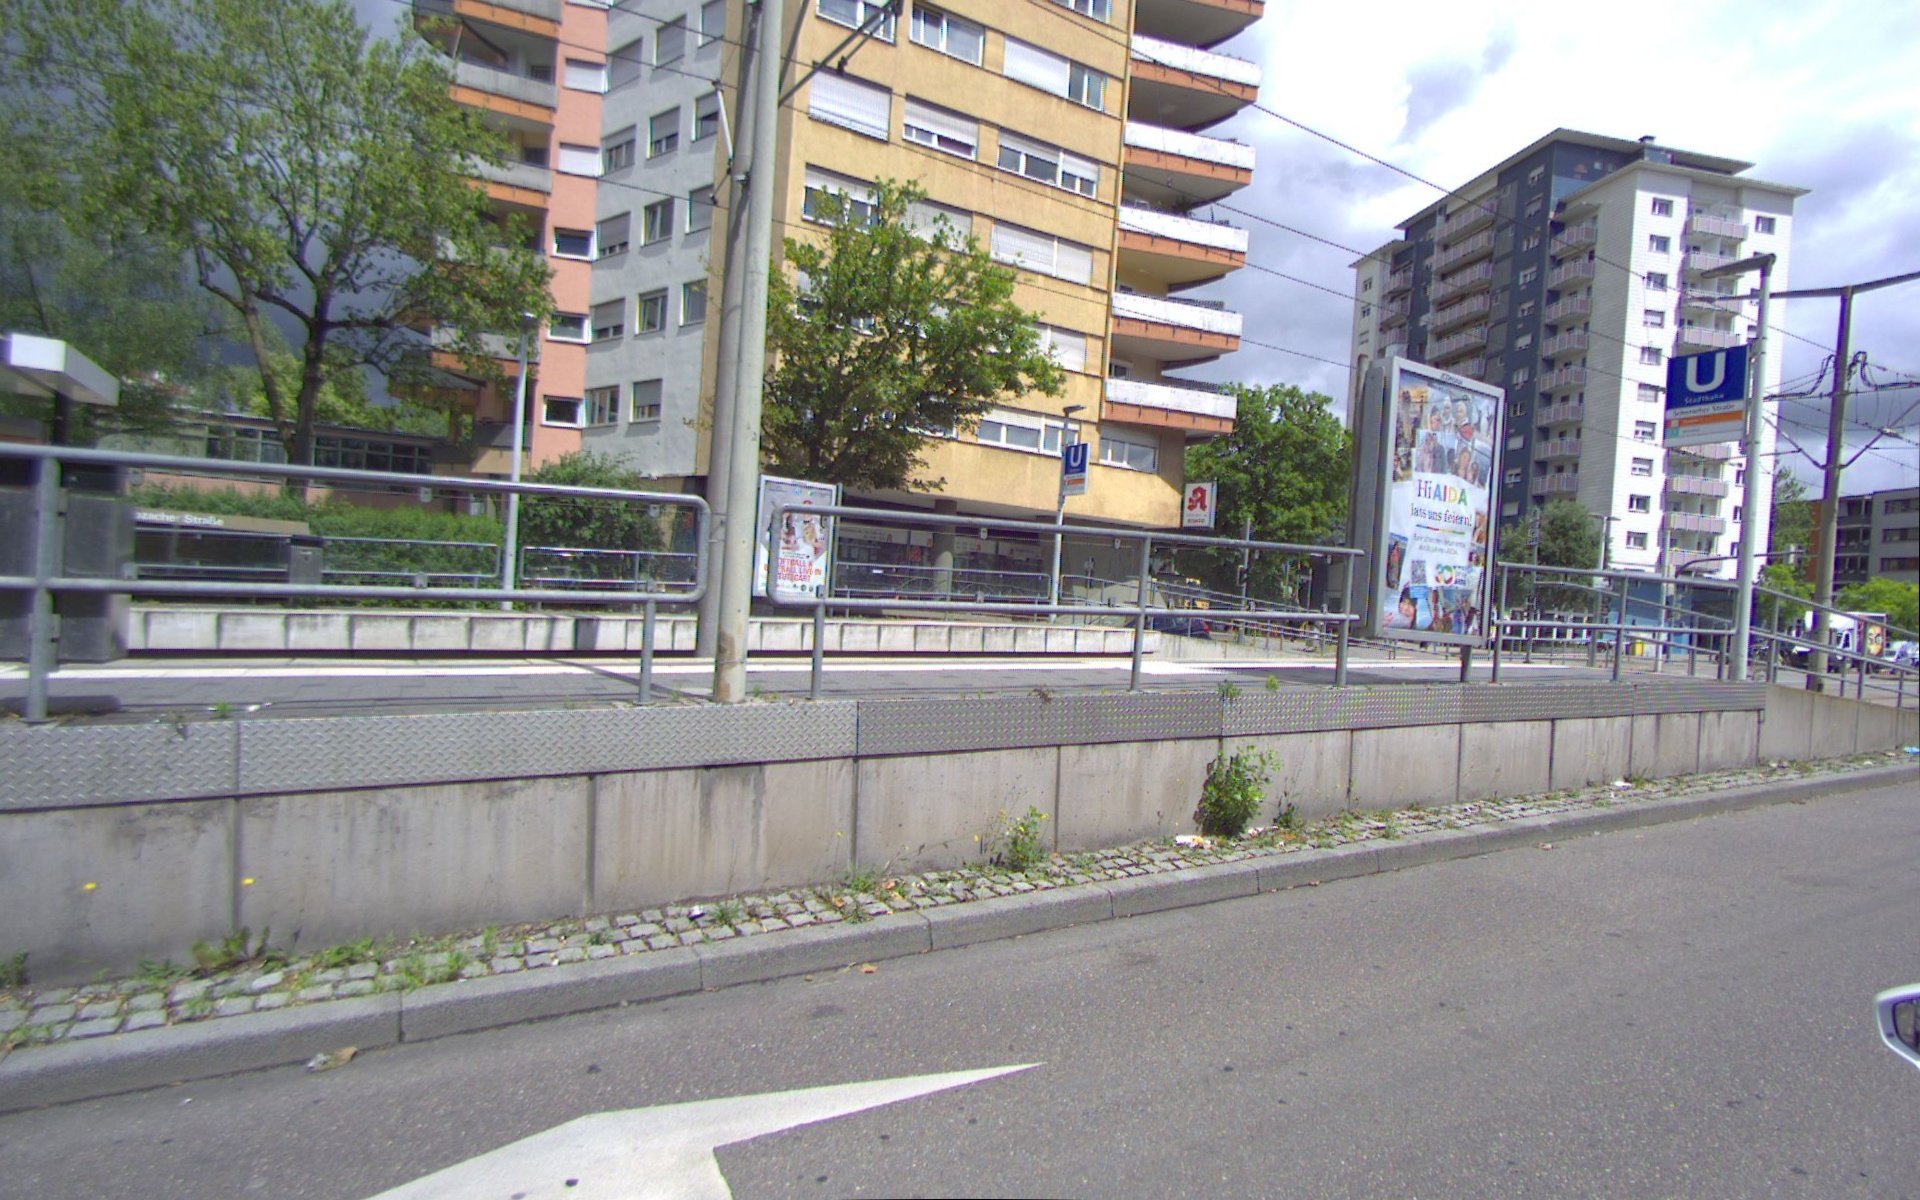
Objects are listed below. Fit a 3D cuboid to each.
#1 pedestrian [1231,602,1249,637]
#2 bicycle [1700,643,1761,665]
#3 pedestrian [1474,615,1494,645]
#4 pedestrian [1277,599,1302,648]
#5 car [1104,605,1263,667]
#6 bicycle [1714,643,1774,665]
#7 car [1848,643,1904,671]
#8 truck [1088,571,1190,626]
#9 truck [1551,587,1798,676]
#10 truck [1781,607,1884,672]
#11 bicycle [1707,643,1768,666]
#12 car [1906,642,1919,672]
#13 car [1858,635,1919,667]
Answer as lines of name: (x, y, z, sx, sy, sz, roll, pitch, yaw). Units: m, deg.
pedestrian: (11.787, 0.828, 42.322, 0.541, 1.459, 0.497, 2, -1, -19)
bicycle: (41.613, 2.911, 54.302, 2.521, 1.022, 0.754, 4, 0, 33)
pedestrian: (35.985, 2.036, 68.947, 0.831, 2.040, 0.861, 2, 0, -2)
pedestrian: (12.313, 0.862, 37.541, 0.649, 1.799, 0.658, 2, 0, -1)
car: (5.584, 0.901, 25.020, 3.820, 1.424, 1.571, 2, 0, -30)
bicycle: (43.415, 2.991, 55.676, 2.521, 1.022, 0.754, 4, 0, 33)
car: (52.262, 3.240, 57.286, 3.733, 1.480, 1.399, 2, 0, -32)
truck: (7.982, -0.107, 45.241, 2.323, 2.320, 4.260, 2, 0, -29)
truck: (26.399, 1.090, 37.630, 2.718, 2.979, 7.258, 2, 0, -20)
truck: (45.929, 2.103, 52.814, 7.244, 3.159, 2.267, 2, 0, -34)
bicycle: (42.556, 2.961, 54.983, 2.521, 1.022, 0.754, 4, 0, 33)
car: (61.087, 3.614, 62.980, 3.732, 1.780, 1.583, 2, 0, -31)
car: (64.474, 3.494, 68.968, 3.846, 2.001, 1.657, 2, 0, 18)
